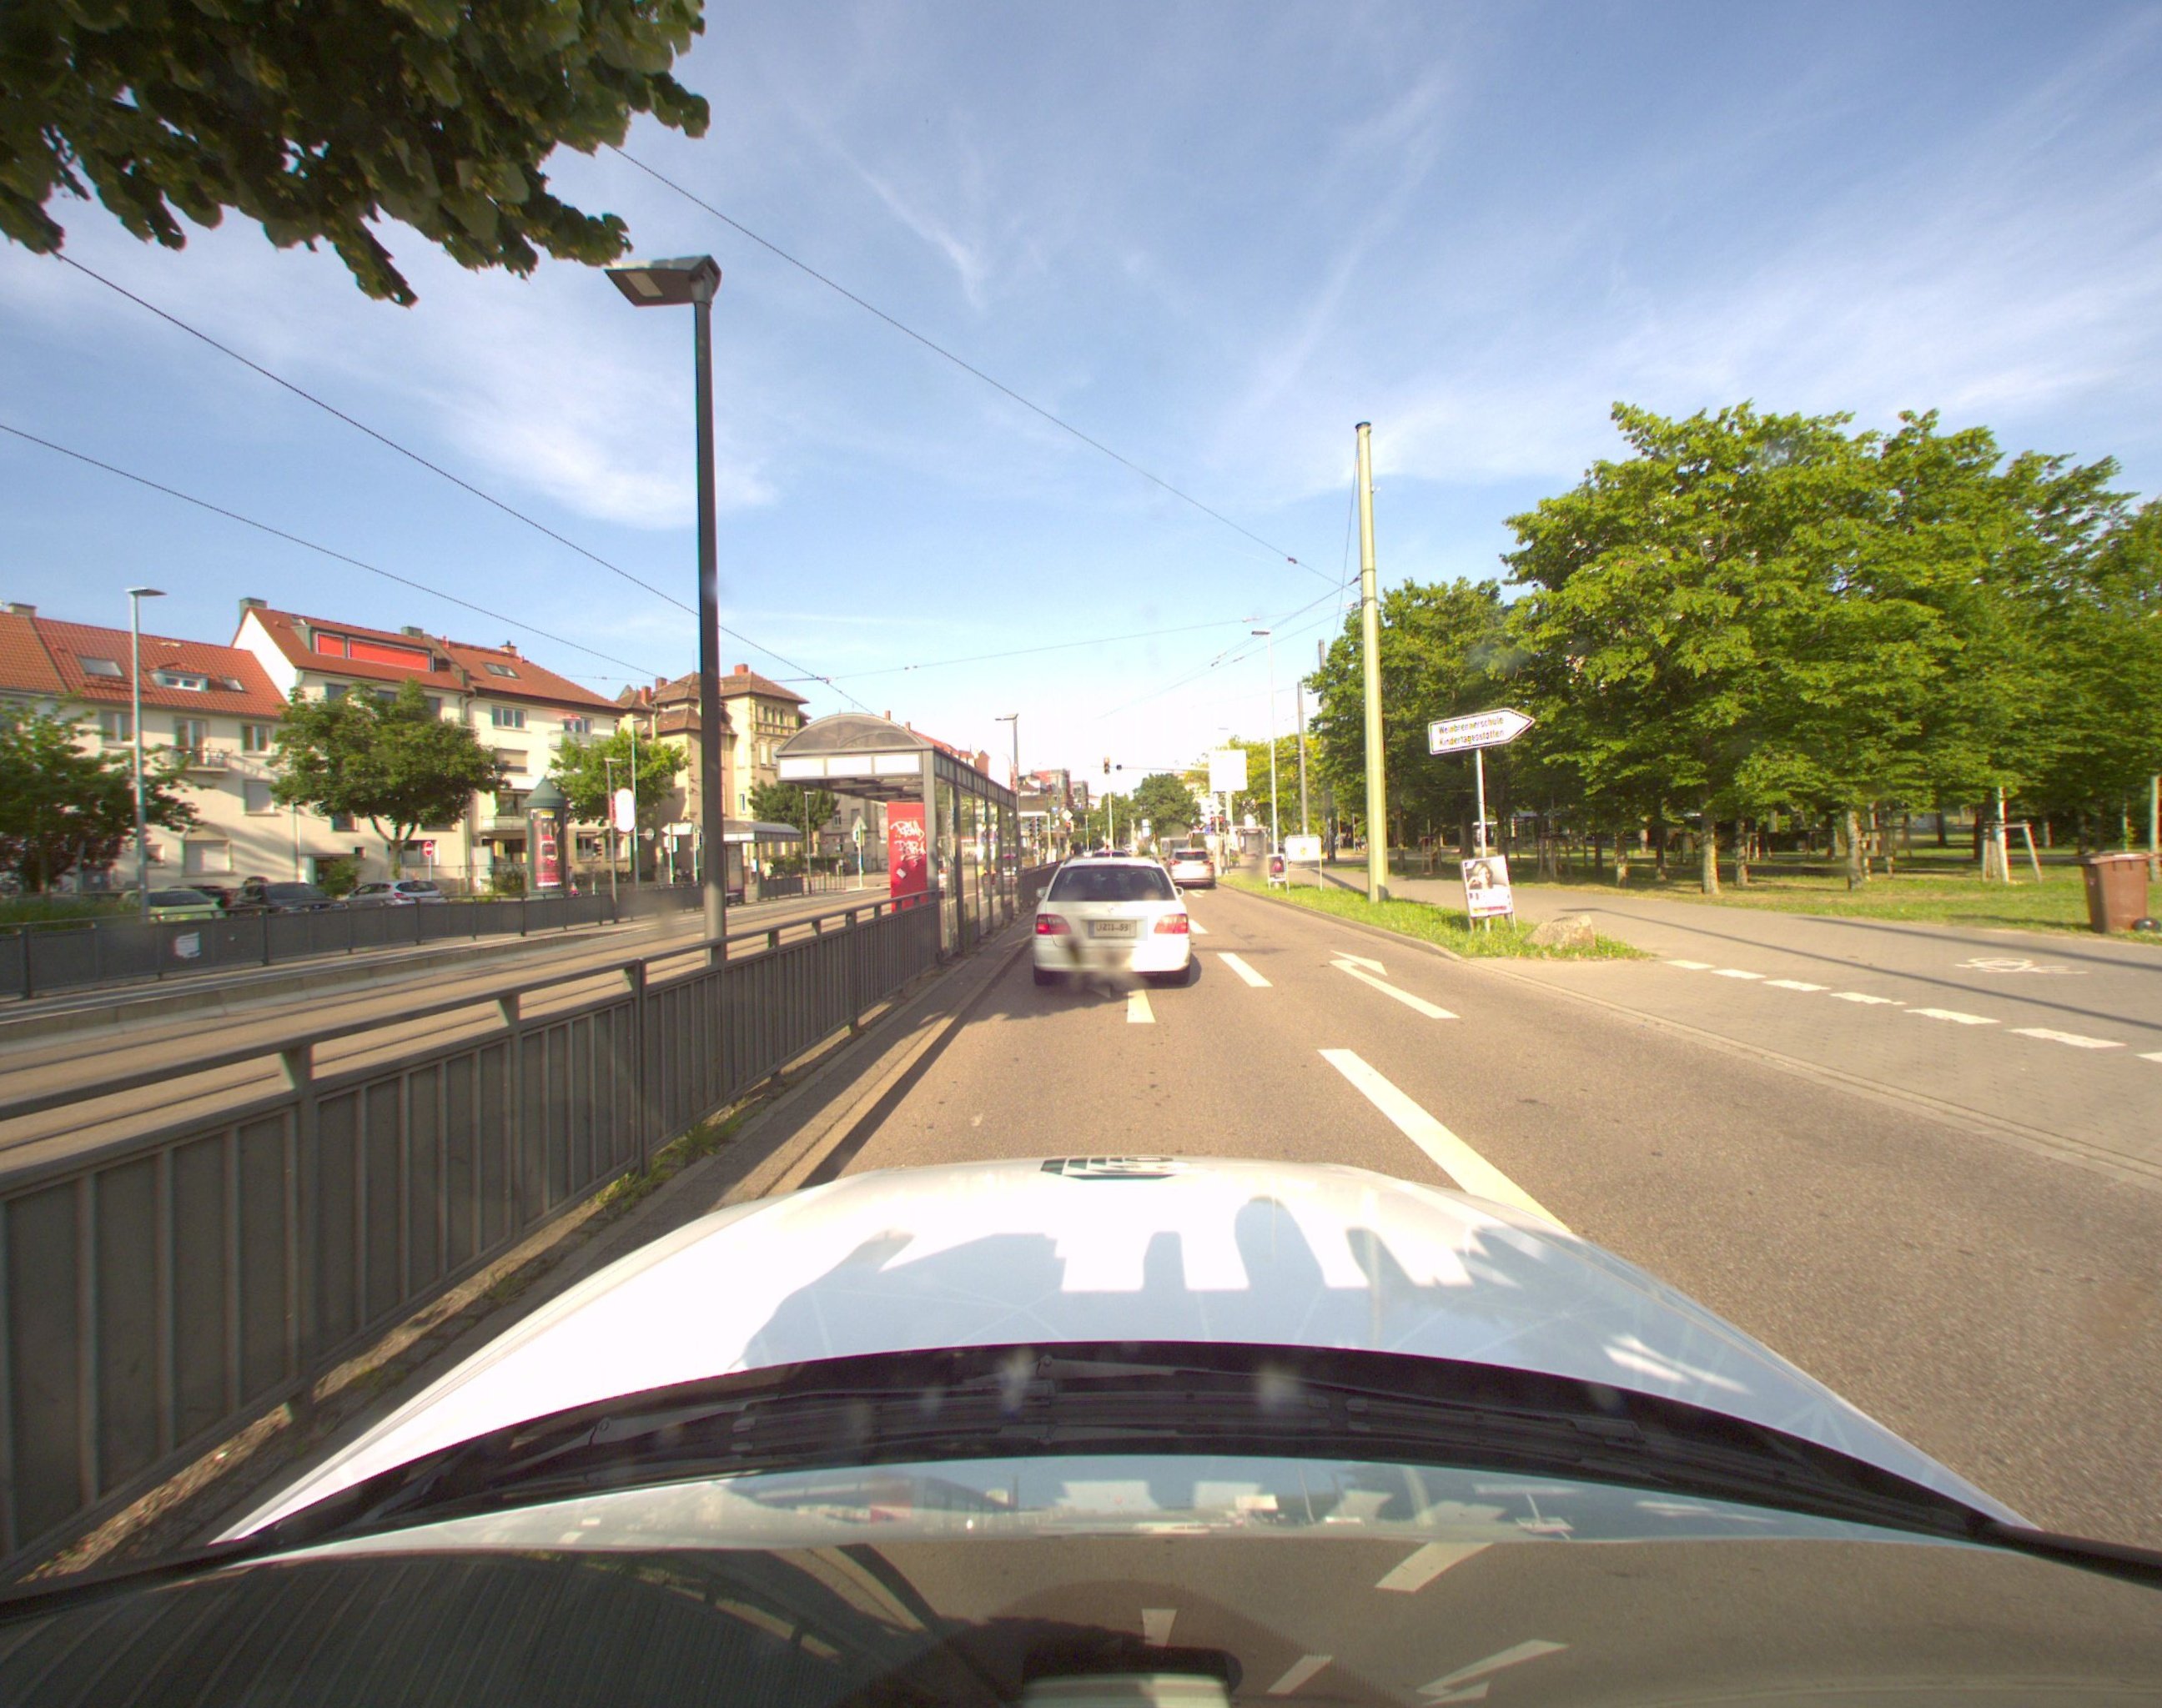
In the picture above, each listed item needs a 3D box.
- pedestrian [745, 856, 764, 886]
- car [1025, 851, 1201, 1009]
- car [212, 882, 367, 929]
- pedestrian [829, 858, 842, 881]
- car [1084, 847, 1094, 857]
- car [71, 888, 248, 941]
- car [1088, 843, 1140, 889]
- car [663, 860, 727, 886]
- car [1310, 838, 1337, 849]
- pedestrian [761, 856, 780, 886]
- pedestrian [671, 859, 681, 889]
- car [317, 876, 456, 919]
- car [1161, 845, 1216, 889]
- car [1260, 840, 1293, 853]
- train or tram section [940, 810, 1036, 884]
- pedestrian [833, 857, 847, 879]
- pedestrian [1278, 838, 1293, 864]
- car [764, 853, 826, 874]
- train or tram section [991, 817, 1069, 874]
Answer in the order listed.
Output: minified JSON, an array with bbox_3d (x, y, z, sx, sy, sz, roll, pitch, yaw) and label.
[{"bbox_3d":[-19.663,1.036,49.092,0.886,1.753,0.743,-2,0,-9],"label":"pedestrian"},{"bbox_3d":[0.382,0.779,10.375,1.752,1.503,4.002,-3,1,1],"label":"car"},{"bbox_3d":[-26.608,1.705,27.427,3.956,1.398,2.009,-1,1,16],"label":"car"},{"bbox_3d":[-18.532,1.172,61.535,0.662,1.753,0.747,-1,0,6],"label":"pedestrian"},{"bbox_3d":[1.698,-0.392,171.528,1.986,2.013,4.001,-2,0,1],"label":"car"},{"bbox_3d":[-28.098,1.818,24.879,3.957,1.398,2.009,-1,1,16],"label":"car"},{"bbox_3d":[1.386,0.425,32.989,1.778,1.689,4.007,-1,1,6],"label":"car"},{"bbox_3d":[-28.555,1.393,60.287,3.954,1.750,2.010,-1,1,19],"label":"car"},{"bbox_3d":[41.352,-1.724,138.810,4.007,1.651,1.984,-3,0,-25],"label":"car"},{"bbox_3d":[-18.761,0.997,49.237,0.886,1.753,0.743,-2,0,-9],"label":"pedestrian"},{"bbox_3d":[-27.642,1.389,55.554,0.379,2.013,0.410,-1,0,20],"label":"pedestrian"},{"bbox_3d":[-25.645,1.594,30.120,3.956,1.398,2.009,-1,1,16],"label":"car"},{"bbox_3d":[4.275,0.482,32.852,2.023,1.605,4.007,-1,1,6],"label":"car"},{"bbox_3d":[26.744,-1.032,111.659,3.949,1.651,2.012,-2,0,27],"label":"car"},{"bbox_3d":[-4.760,-0.423,45.145,2.837,3.479,13.215,-1,1,4],"label":"train or tram section"},{"bbox_3d":[-20.379,1.185,68.990,0.882,1.753,0.747,-1,0,5],"label":"pedestrian"},{"bbox_3d":[13.121,-0.217,52.325,0.881,1.652,0.748,-1,0,10],"label":"pedestrian"},{"bbox_3d":[-24.115,0.762,68.737,2.183,1.628,4.744,-1,1,25],"label":"car"},{"bbox_3d":[-3.346,-0.635,58.042,2.833,3.479,13.231,-1,1,8],"label":"train or tram section"}]
